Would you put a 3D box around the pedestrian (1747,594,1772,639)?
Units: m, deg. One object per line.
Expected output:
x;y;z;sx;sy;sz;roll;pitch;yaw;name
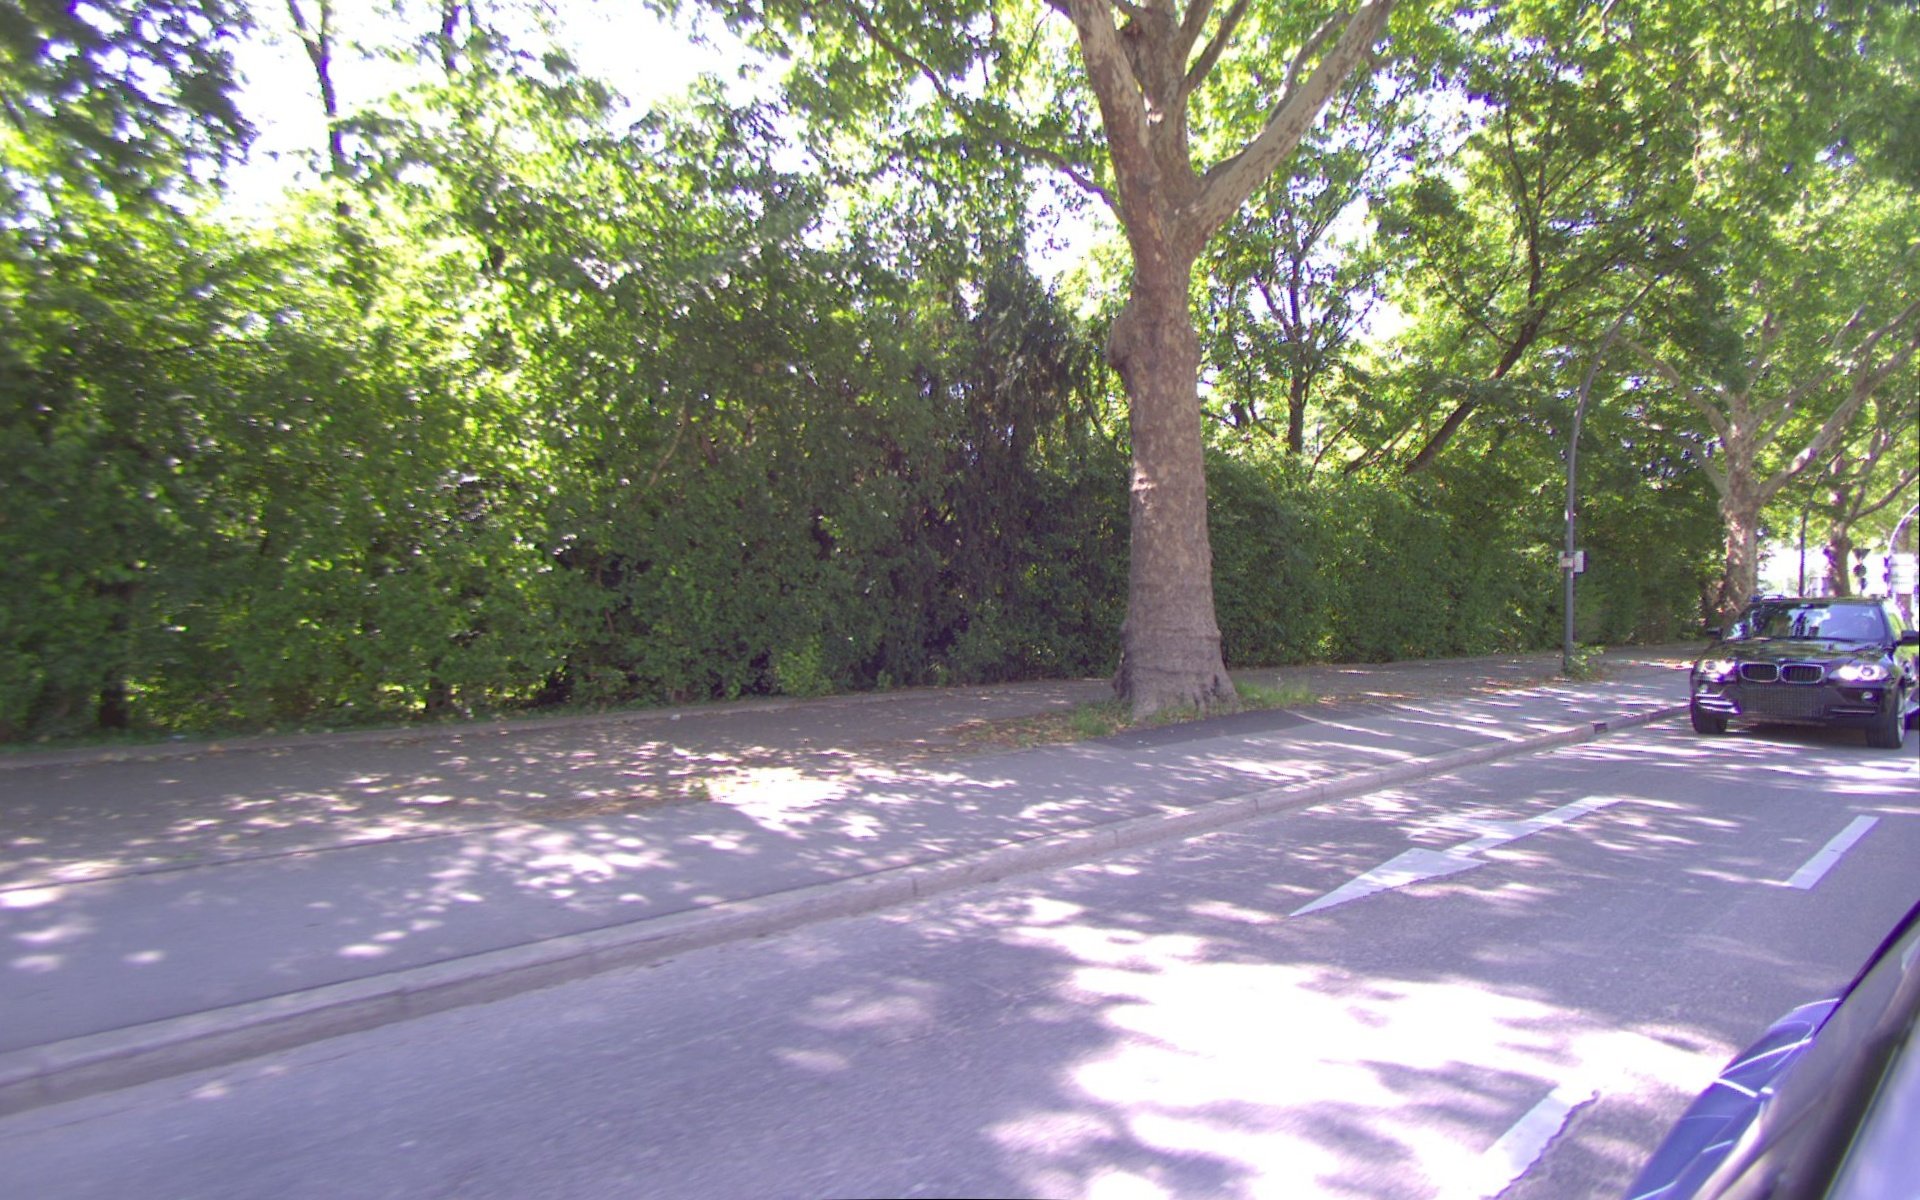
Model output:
31.983;0.651;40.480;0.859;1.808;0.633;1;-1;-41;pedestrian

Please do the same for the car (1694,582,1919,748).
10.965;0.698;12.786;4.079;1.752;1.922;1;0;-42;car

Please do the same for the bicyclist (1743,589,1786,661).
18.607;0.569;23.411;0.720;1.620;0.620;1;1;-43;bicyclist

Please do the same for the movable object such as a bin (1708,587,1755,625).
65.668;0.486;86.139;5.887;3.111;2.371;1;-1;-45;movable object such as a bin
